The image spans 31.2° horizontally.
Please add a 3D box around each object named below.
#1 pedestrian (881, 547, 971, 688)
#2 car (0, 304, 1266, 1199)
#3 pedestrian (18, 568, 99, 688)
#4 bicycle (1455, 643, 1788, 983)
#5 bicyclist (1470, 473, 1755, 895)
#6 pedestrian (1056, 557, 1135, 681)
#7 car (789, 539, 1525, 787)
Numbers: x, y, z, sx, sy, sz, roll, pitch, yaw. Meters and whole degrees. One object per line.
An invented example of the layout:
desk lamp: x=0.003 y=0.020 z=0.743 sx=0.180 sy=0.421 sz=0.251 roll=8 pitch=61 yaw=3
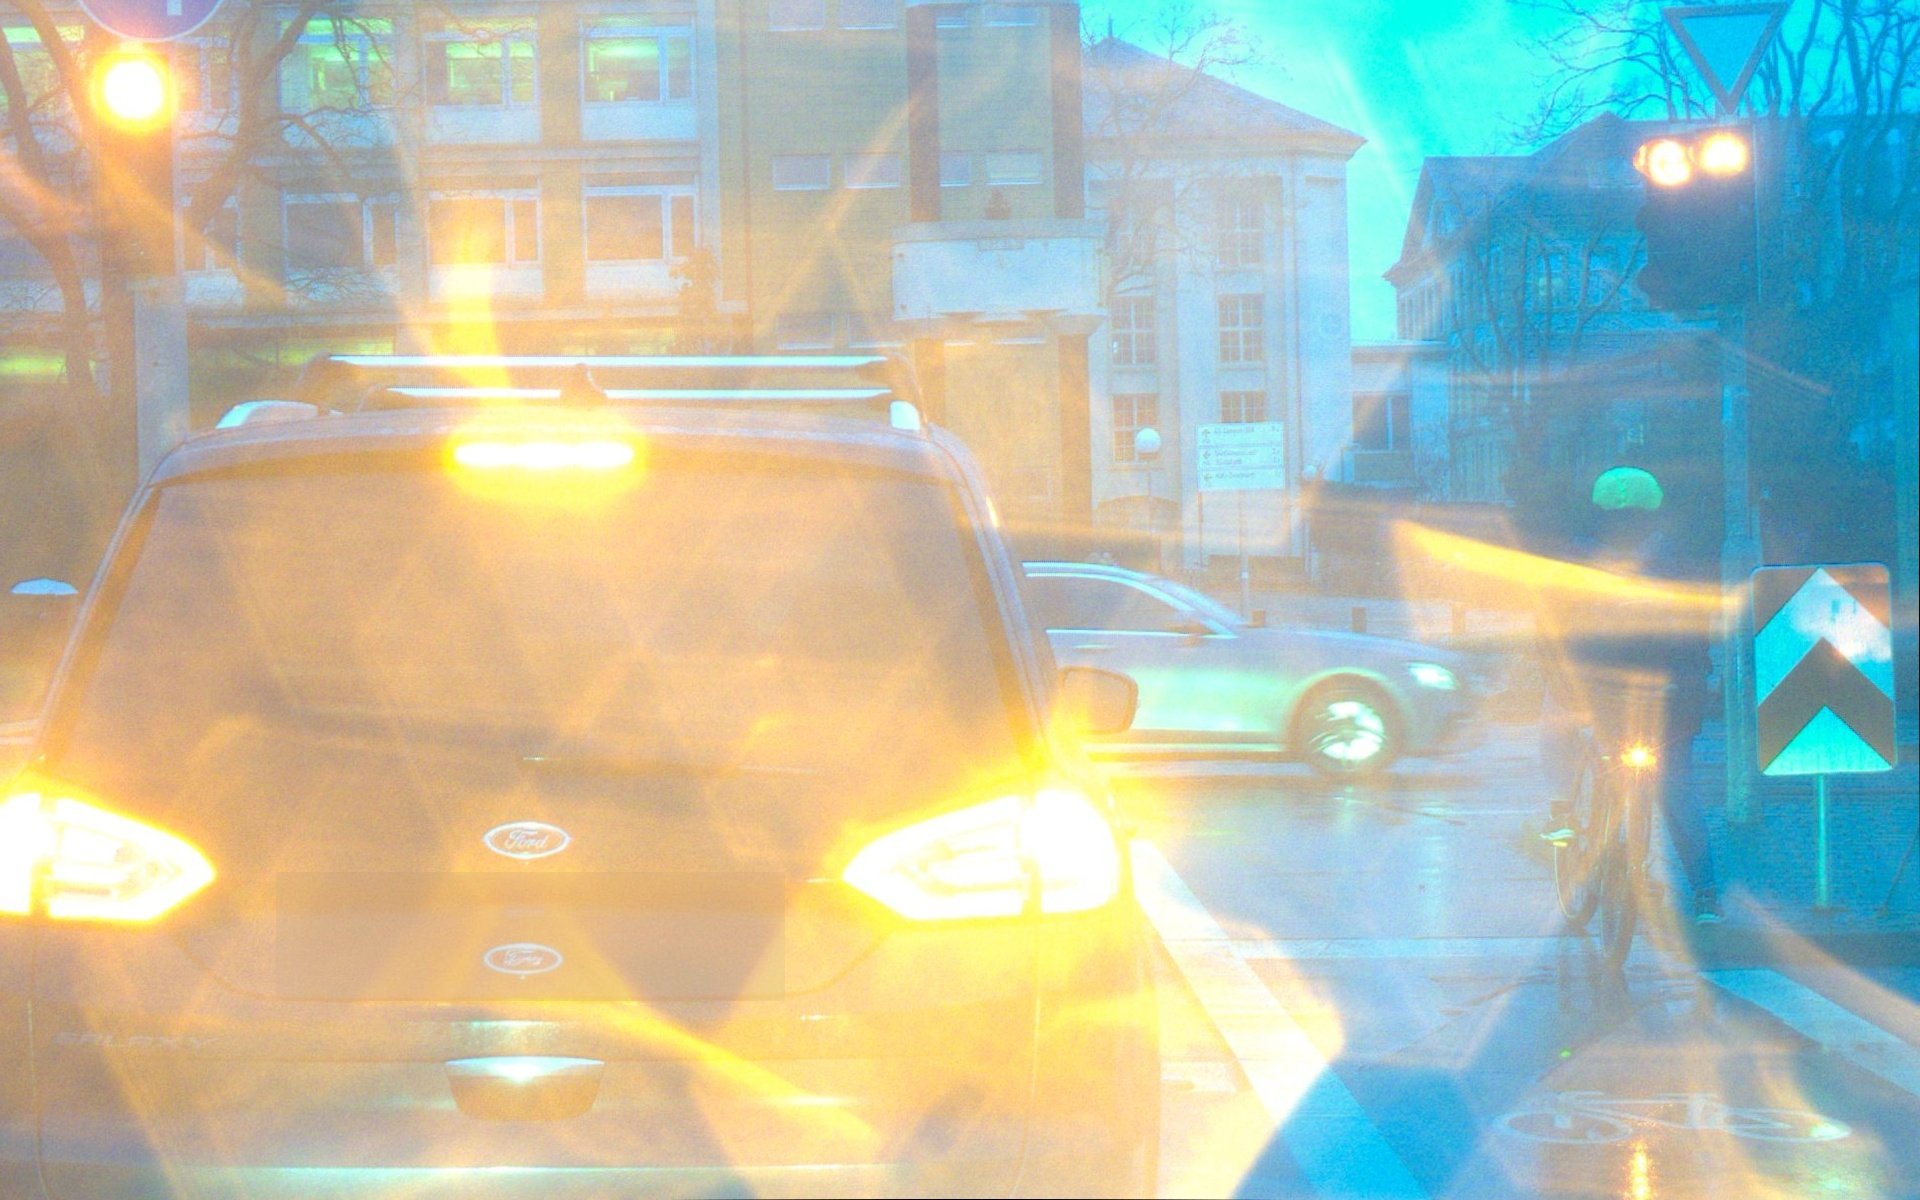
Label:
pedestrian: x=-0.441 y=0.223 z=45.159 sx=0.997 sy=1.793 sz=0.919 roll=-2 pitch=1 yaw=9
car: x=-0.625 y=0.489 z=6.566 sx=1.993 sy=1.783 sz=4.000 roll=1 pitch=1 yaw=-1
pedestrian: x=-12.534 y=0.383 z=47.800 sx=0.760 sy=1.622 sz=0.721 roll=-2 pitch=1 yaw=20
bicycle: x=2.331 y=0.718 z=12.358 sx=0.783 sy=1.071 sz=1.957 roll=1 pitch=1 yaw=-1
bicyclist: x=2.337 y=0.286 z=12.436 sx=0.783 sy=1.448 sz=1.134 roll=1 pitch=0 yaw=-1
pedestrian: x=1.737 y=0.238 z=44.005 sx=0.924 sy=1.527 sz=1.043 roll=-2 pitch=1 yaw=4
car: x=1.356 y=0.412 z=22.882 sx=4.658 sy=1.472 sz=1.810 roll=-2 pitch=0 yaw=11
